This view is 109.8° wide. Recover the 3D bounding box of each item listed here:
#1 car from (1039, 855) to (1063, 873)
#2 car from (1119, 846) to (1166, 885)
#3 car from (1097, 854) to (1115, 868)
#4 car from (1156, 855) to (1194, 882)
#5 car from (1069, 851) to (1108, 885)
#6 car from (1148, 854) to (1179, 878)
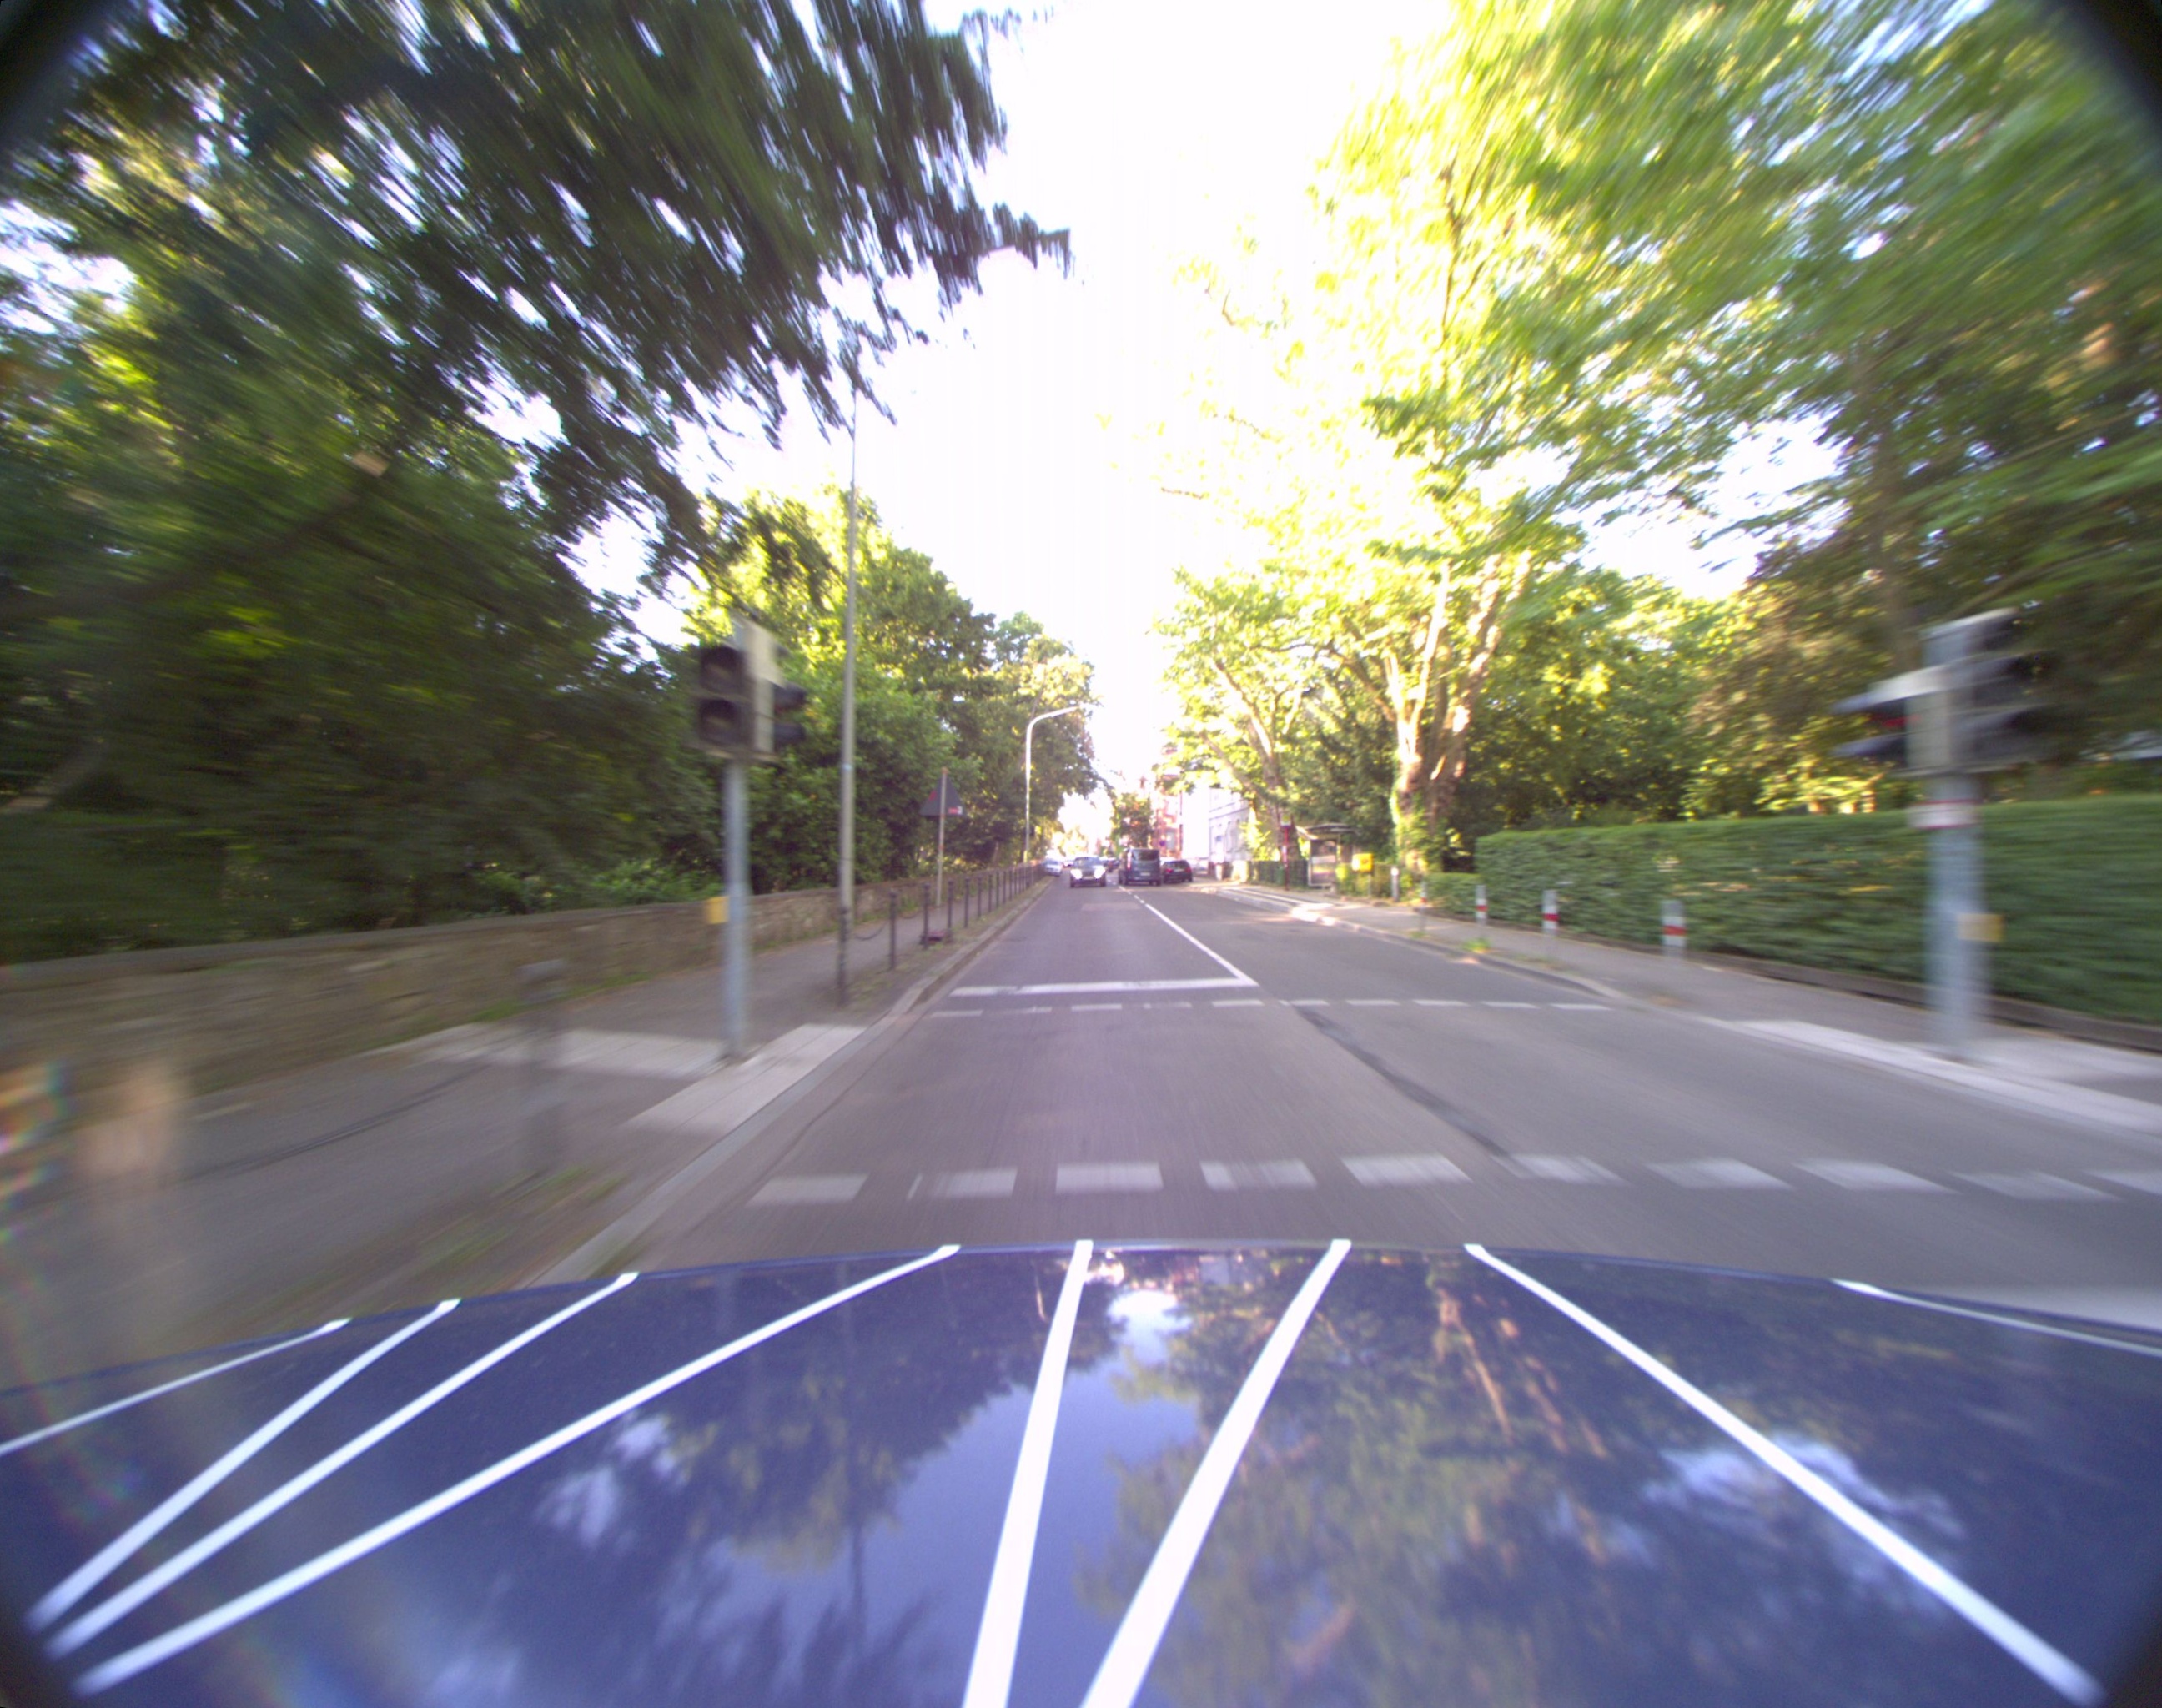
[{"bbox_3d":[-2.558,0.819,63.616,1.824,1.375,3.933,2,0,-4],"label":"car"},{"bbox_3d":[3.305,0.582,41.636,1.999,1.957,4.776,1,0,-2],"label":"car"},{"bbox_3d":[2.578,0.739,79.356,1.628,1.425,3.559,1,0,-1],"label":"car"},{"bbox_3d":[5.569,0.834,45.329,1.689,1.425,3.616,-4,0,-1],"label":"car"},{"bbox_3d":[0.466,0.726,40.632,1.936,1.676,4.433,-1,0,2],"label":"car"},{"bbox_3d":[5.457,0.777,50.421,1.628,1.537,3.322,-1,0,-1],"label":"car"}]
